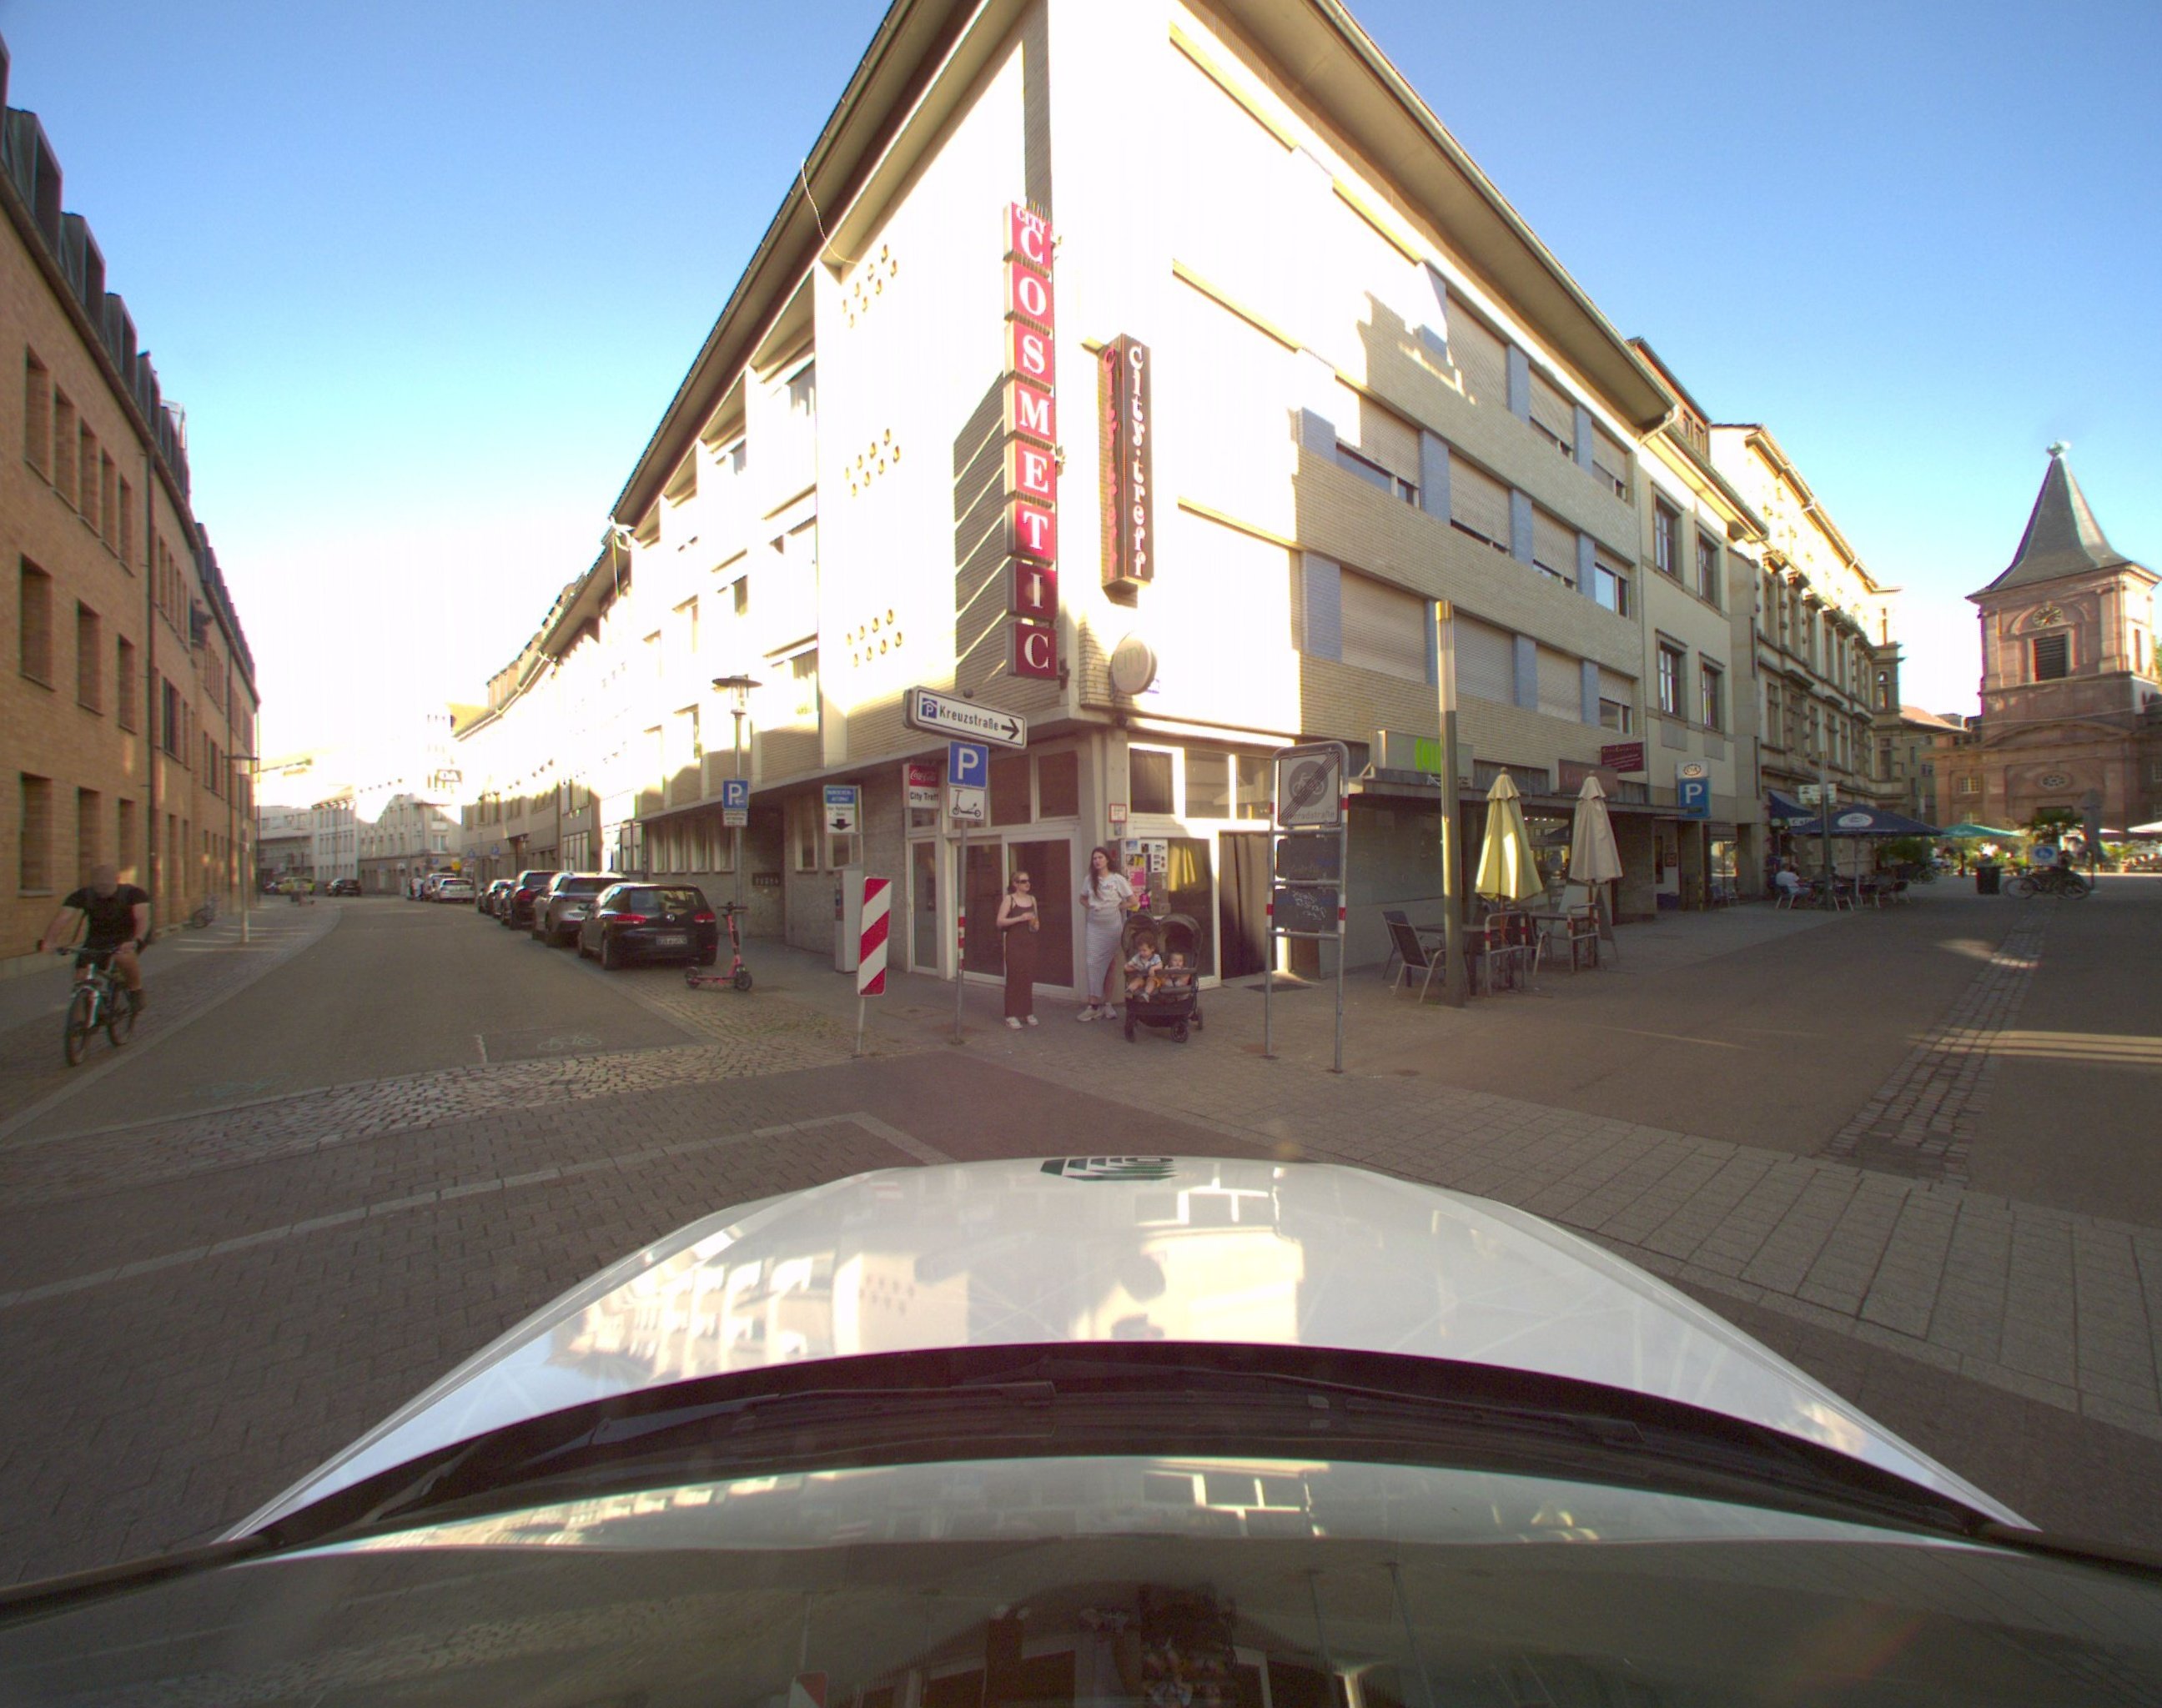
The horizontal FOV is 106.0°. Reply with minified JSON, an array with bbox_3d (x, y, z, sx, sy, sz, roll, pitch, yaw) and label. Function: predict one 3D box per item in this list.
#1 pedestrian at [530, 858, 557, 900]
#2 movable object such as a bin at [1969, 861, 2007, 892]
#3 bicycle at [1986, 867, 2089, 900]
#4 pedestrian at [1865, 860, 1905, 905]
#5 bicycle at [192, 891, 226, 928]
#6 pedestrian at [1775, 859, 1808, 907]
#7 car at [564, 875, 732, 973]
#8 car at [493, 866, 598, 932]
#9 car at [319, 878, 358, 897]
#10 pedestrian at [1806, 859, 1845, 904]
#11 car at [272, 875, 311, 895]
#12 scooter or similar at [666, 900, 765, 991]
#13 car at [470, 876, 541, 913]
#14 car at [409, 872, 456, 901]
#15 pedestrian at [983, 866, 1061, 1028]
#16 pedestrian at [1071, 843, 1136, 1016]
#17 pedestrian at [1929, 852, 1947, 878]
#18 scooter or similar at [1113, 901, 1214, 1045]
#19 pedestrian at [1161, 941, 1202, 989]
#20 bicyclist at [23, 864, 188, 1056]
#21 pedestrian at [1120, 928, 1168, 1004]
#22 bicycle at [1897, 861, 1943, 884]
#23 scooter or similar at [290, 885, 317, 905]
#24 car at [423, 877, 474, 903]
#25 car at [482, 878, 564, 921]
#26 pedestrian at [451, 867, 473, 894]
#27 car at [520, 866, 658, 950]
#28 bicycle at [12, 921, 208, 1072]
[{"bbox_3d":[-22.812,1.069,34.583,0.795,1.721,0.737,-3,1,-41],"label":"pedestrian"},{"bbox_3d":[33.303,0.824,29.900,0.784,1.123,0.894,0,-1,-42],"label":"movable object such as a bin"},{"bbox_3d":[31.308,0.938,26.694,0.820,0.983,2.144,0,0,-36],"label":"bicycle"},{"bbox_3d":[24.356,0.854,24.684,0.553,1.355,0.756,0,-1,-35],"label":"pedestrian"},{"bbox_3d":[-29.026,1.836,27.093,1.781,1.163,0.637,-1,-4,40],"label":"bicycle"},{"bbox_3d":[20.473,0.837,23.472,0.554,1.355,0.658,0,-1,-45],"label":"pedestrian"},{"bbox_3d":[-8.133,1.174,15.073,1.838,1.505,4.546,3,-3,-39],"label":"car"},{"bbox_3d":[-16.337,1.284,24.728,2.121,1.786,4.992,1,-2,-40],"label":"car"},{"bbox_3d":[-69.897,3.153,76.636,4.048,1.692,1.986,-2,-2,37],"label":"car"},{"bbox_3d":[22.818,0.837,24.964,0.553,1.355,0.756,0,-1,-35],"label":"pedestrian"},{"bbox_3d":[-83.390,3.229,86.018,4.121,2.014,2.072,-1,-1,32],"label":"car"},{"bbox_3d":[-5.123,1.253,11.412,1.291,1.194,0.497,-1,-1,21],"label":"scooter or similar"},{"bbox_3d":[-24.069,1.635,33.995,1.910,1.453,5.163,1,-2,-41],"label":"car"},{"bbox_3d":[-42.723,2.126,53.622,5.148,1.791,1.847,-2,-2,45],"label":"car"},{"bbox_3d":[-0.597,0.911,8.252,0.576,1.540,0.437,-3,1,-31],"label":"pedestrian"},{"bbox_3d":[0.244,0.770,8.559,0.622,1.736,0.623,-1,-1,4],"label":"pedestrian"},{"bbox_3d":[49.321,0.621,46.854,0.621,1.450,0.802,-2,-1,43],"label":"pedestrian"},{"bbox_3d":[0.750,1.079,7.672,0.865,1.176,1.046,-1,1,3],"label":"scooter or similar"},{"bbox_3d":[0.934,1.018,7.536,0.328,0.398,0.314,-1,-1,16],"label":"pedestrian"},{"bbox_3d":[-9.209,0.944,7.736,0.667,1.642,0.916,-5,1,-33],"label":"bicyclist"},{"bbox_3d":[0.589,1.028,7.550,0.328,0.633,0.511,-1,-1,16],"label":"pedestrian"},{"bbox_3d":[38.344,0.844,37.226,0.506,1.003,1.394,-1,-1,-9],"label":"bicycle"},{"bbox_3d":[-49.898,2.613,52.303,0.699,1.217,1.349,-1,0,-17],"label":"scooter or similar"},{"bbox_3d":[-38.284,2.150,49.249,4.116,1.478,1.857,-2,-3,44],"label":"car"},{"bbox_3d":[-20.225,1.585,29.435,1.823,1.413,4.732,2,-3,-42],"label":"car"},{"bbox_3d":[-41.956,1.785,55.193,1.184,1.801,1.051,-3,-2,45],"label":"pedestrian"},{"bbox_3d":[-11.643,1.177,19.117,2.010,1.702,4.786,2,-3,-40],"label":"car"},{"bbox_3d":[-9.255,1.291,7.851,0.655,1.131,1.718,-5,1,-33],"label":"bicycle"}]
